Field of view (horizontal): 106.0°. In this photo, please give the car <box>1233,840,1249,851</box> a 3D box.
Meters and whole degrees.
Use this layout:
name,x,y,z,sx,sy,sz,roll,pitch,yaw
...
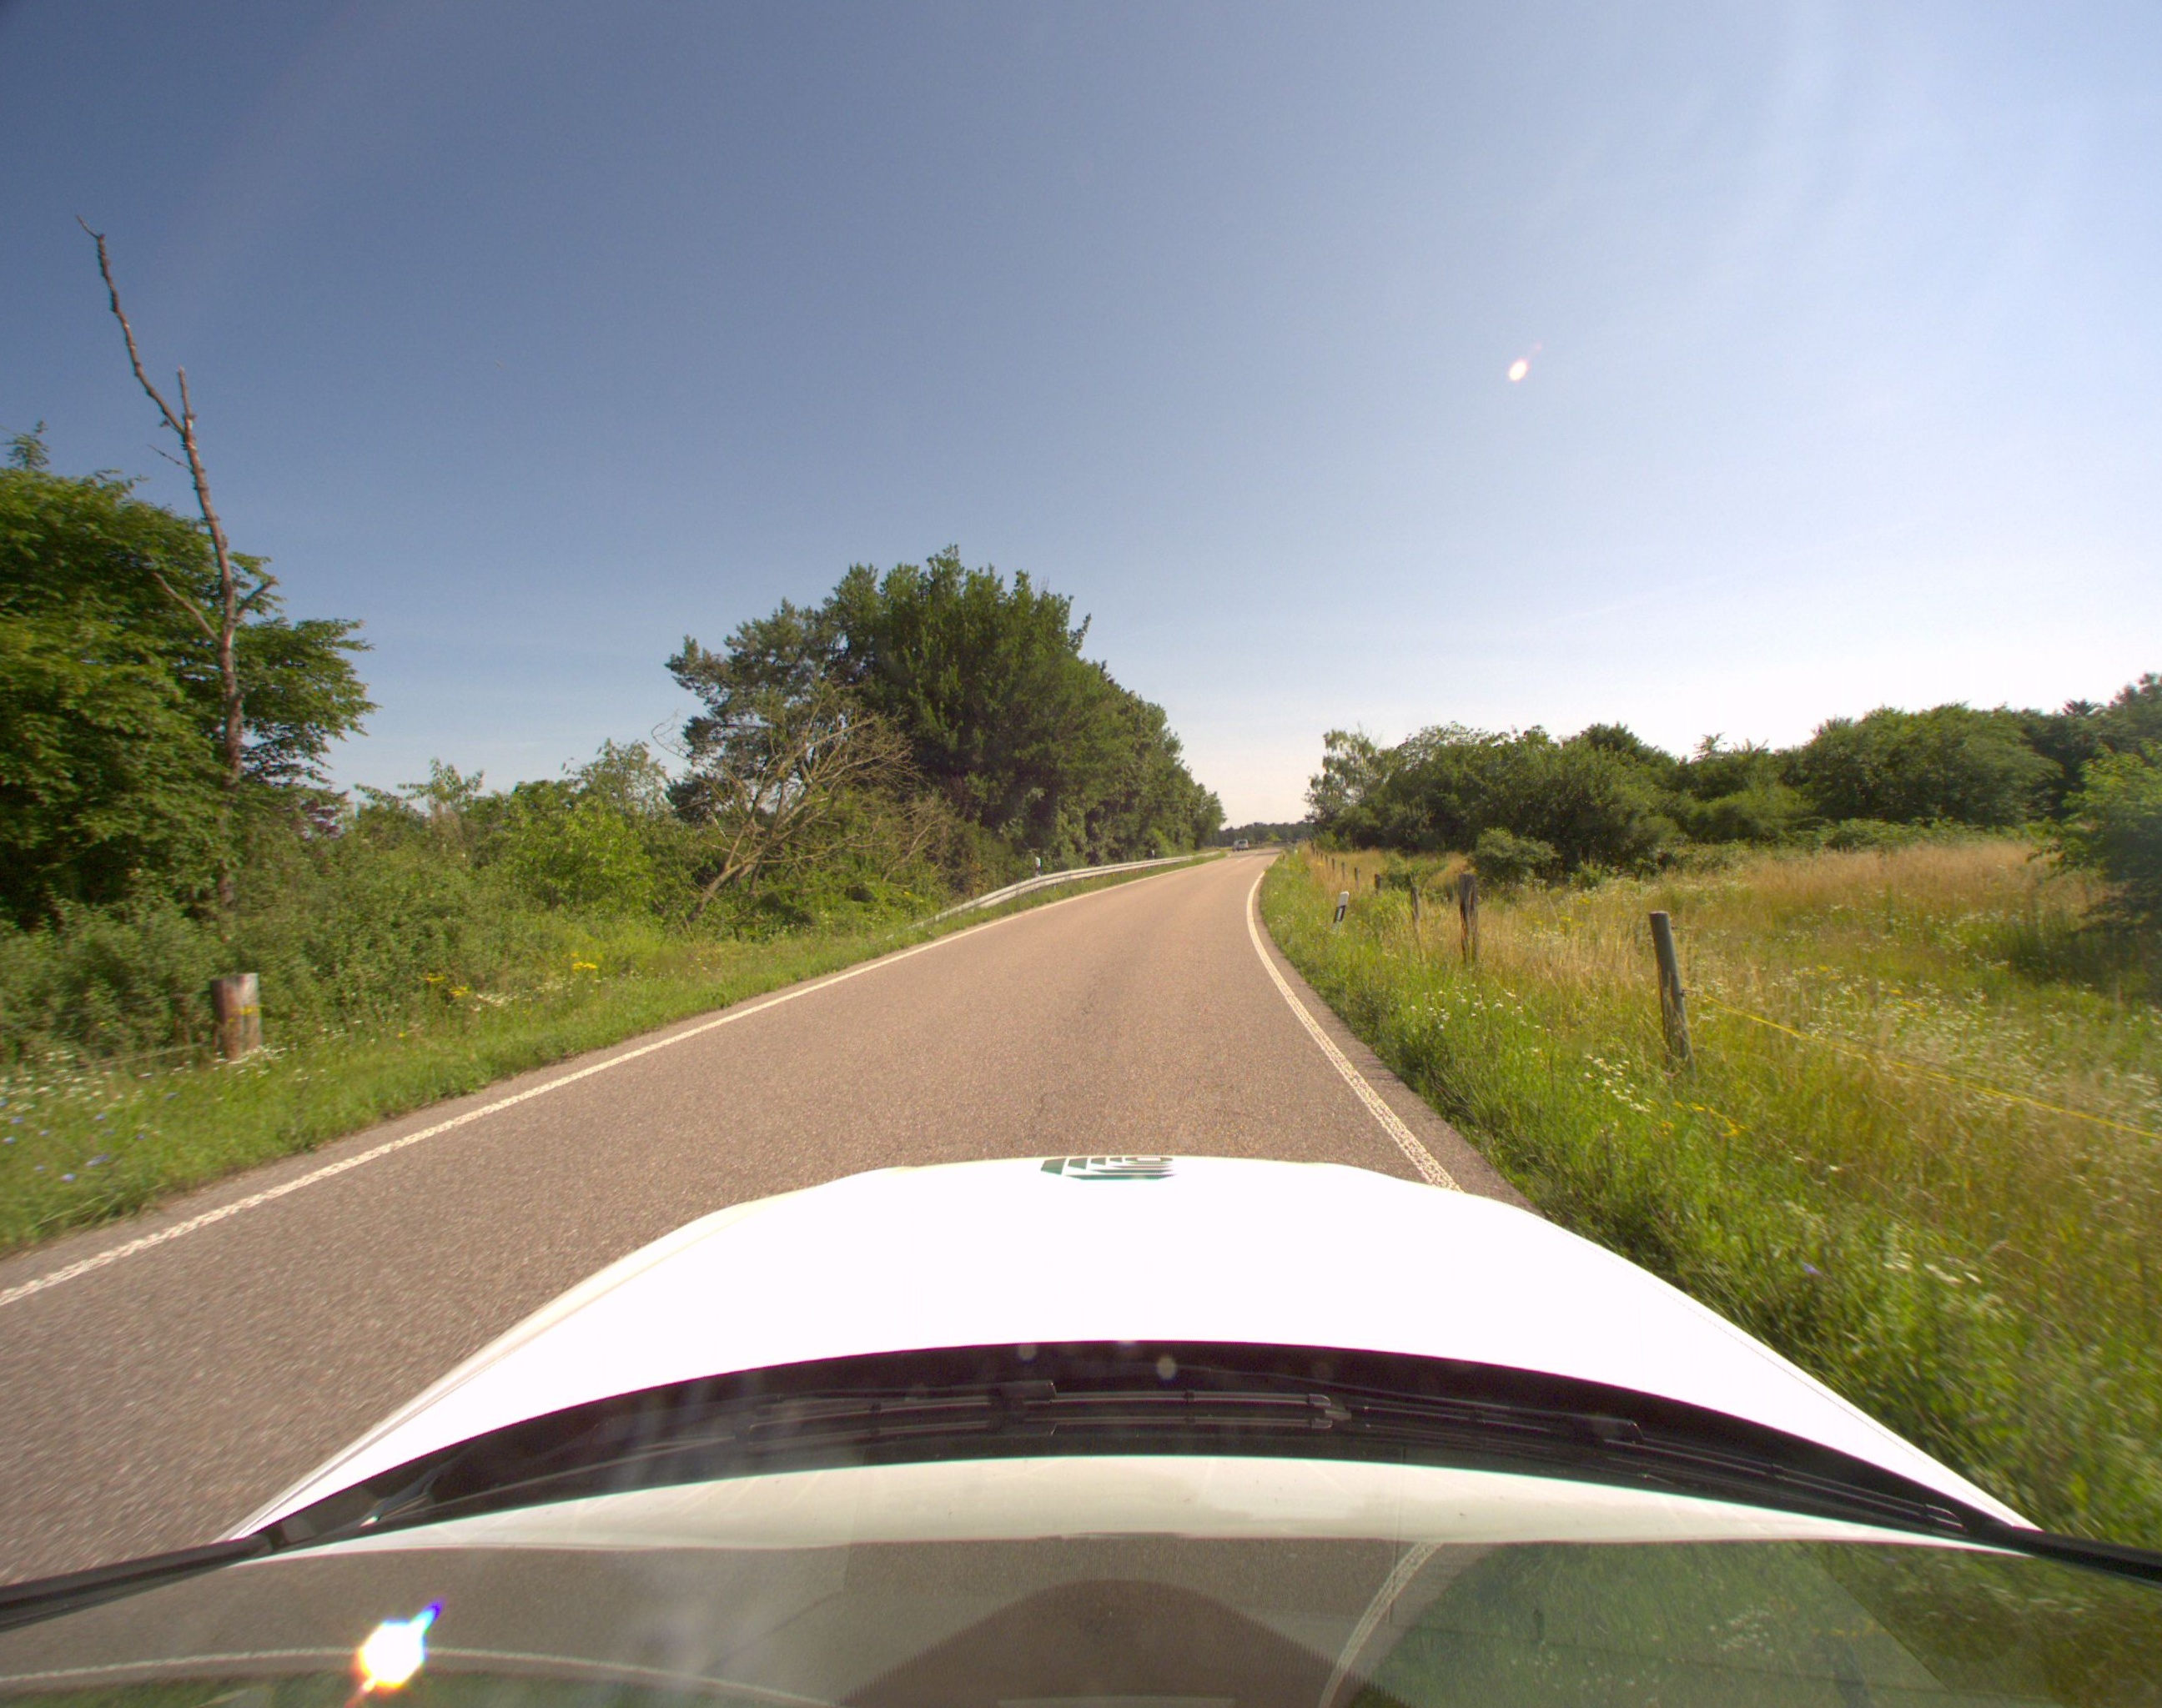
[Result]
name,x,y,z,sx,sy,sz,roll,pitch,yaw
car,28.069,-1.538,142.851,1.956,1.802,4.158,-1,-1,-1
